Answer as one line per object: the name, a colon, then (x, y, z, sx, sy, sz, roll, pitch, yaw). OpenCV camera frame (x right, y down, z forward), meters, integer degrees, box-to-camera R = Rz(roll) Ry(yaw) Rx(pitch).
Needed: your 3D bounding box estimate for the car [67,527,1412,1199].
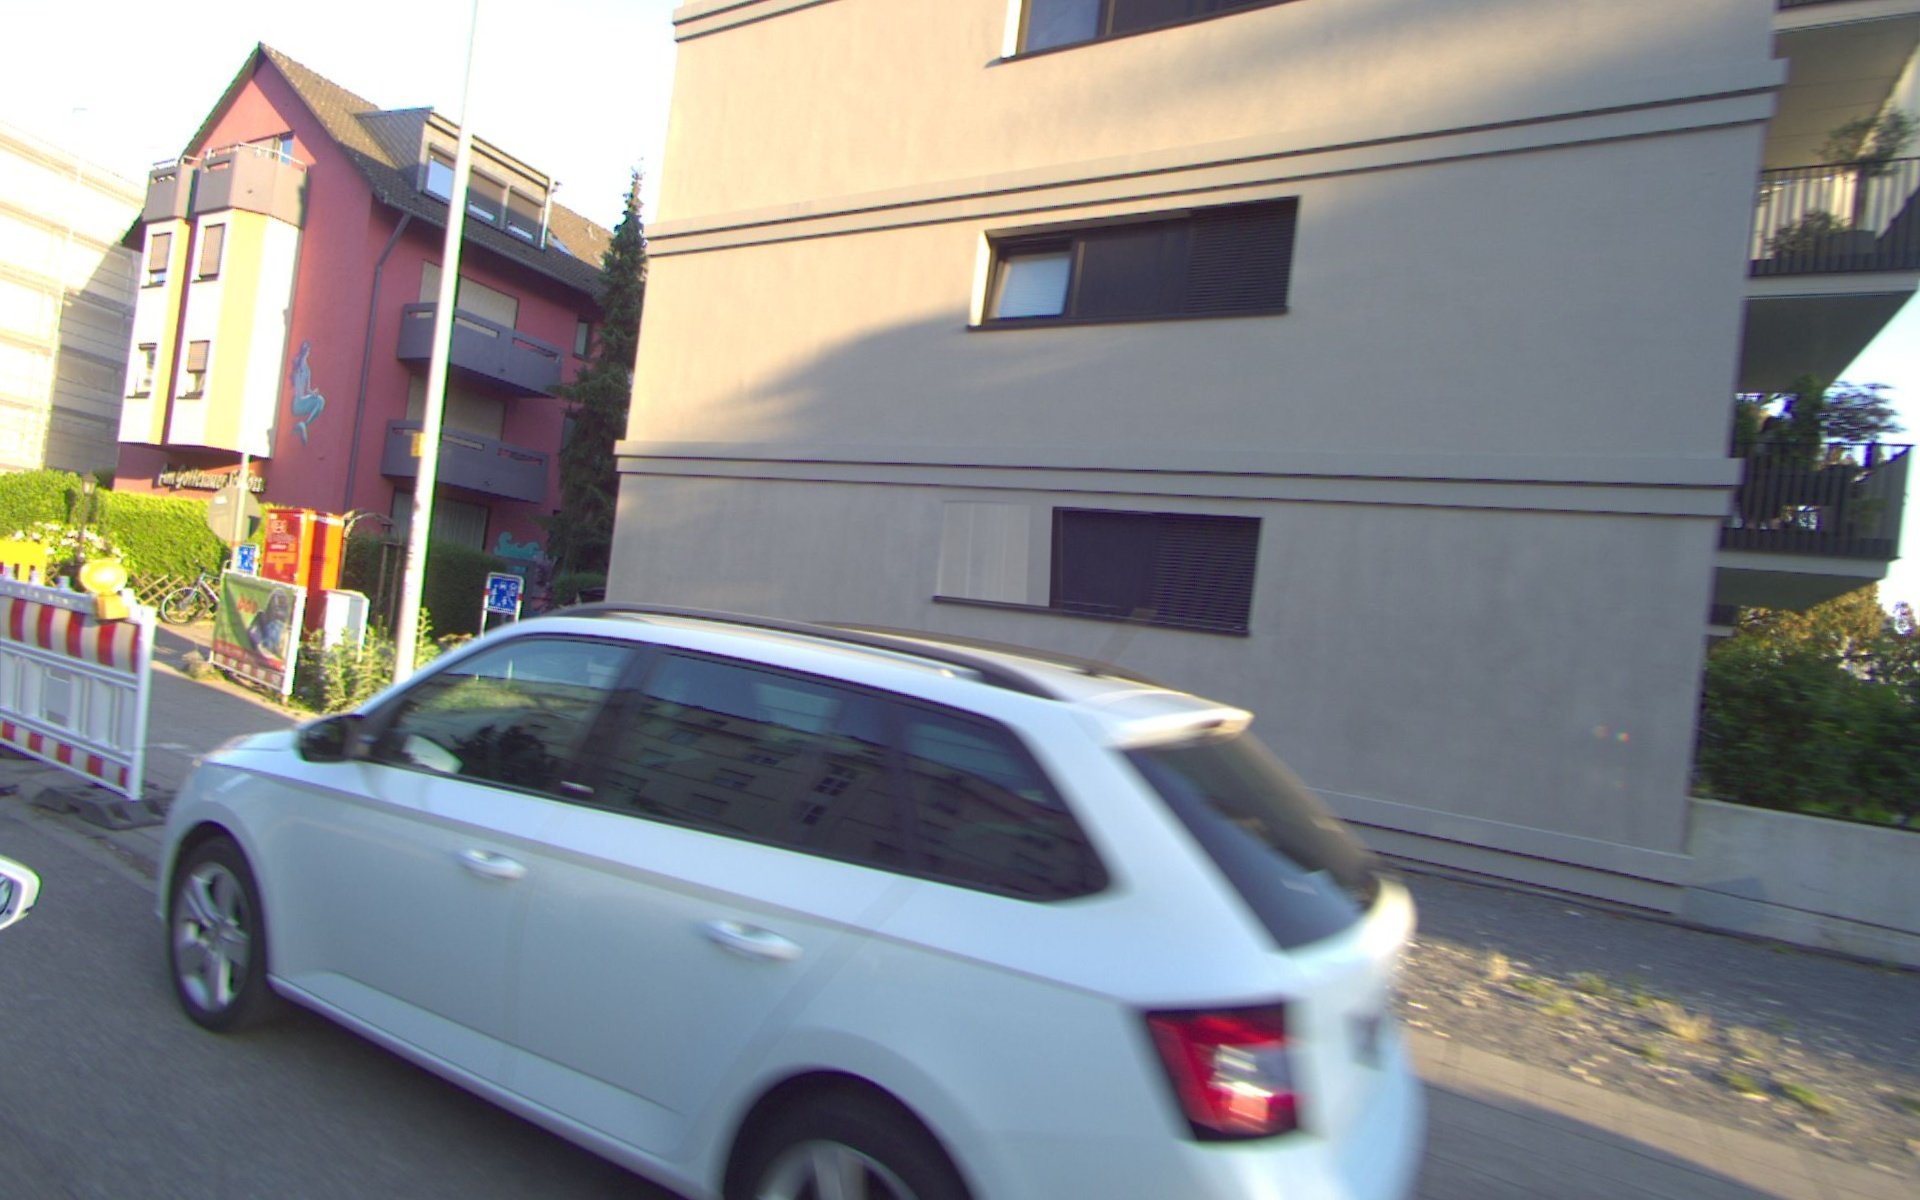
car: (-0.853, 0.756, 3.178, 3.928, 1.486, 1.619, 6, -2, 29)

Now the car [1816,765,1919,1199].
car: (3.367, 1.236, 0.780, 3.778, 1.486, 1.802, 6, -2, 30)

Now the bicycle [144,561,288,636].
bicycle: (-13.069, 0.000, 17.730, 0.439, 1.081, 1.894, 6, -2, 37)

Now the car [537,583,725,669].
car: (-7.767, 0.674, 24.106, 1.855, 1.585, 3.909, 6, -2, 31)
